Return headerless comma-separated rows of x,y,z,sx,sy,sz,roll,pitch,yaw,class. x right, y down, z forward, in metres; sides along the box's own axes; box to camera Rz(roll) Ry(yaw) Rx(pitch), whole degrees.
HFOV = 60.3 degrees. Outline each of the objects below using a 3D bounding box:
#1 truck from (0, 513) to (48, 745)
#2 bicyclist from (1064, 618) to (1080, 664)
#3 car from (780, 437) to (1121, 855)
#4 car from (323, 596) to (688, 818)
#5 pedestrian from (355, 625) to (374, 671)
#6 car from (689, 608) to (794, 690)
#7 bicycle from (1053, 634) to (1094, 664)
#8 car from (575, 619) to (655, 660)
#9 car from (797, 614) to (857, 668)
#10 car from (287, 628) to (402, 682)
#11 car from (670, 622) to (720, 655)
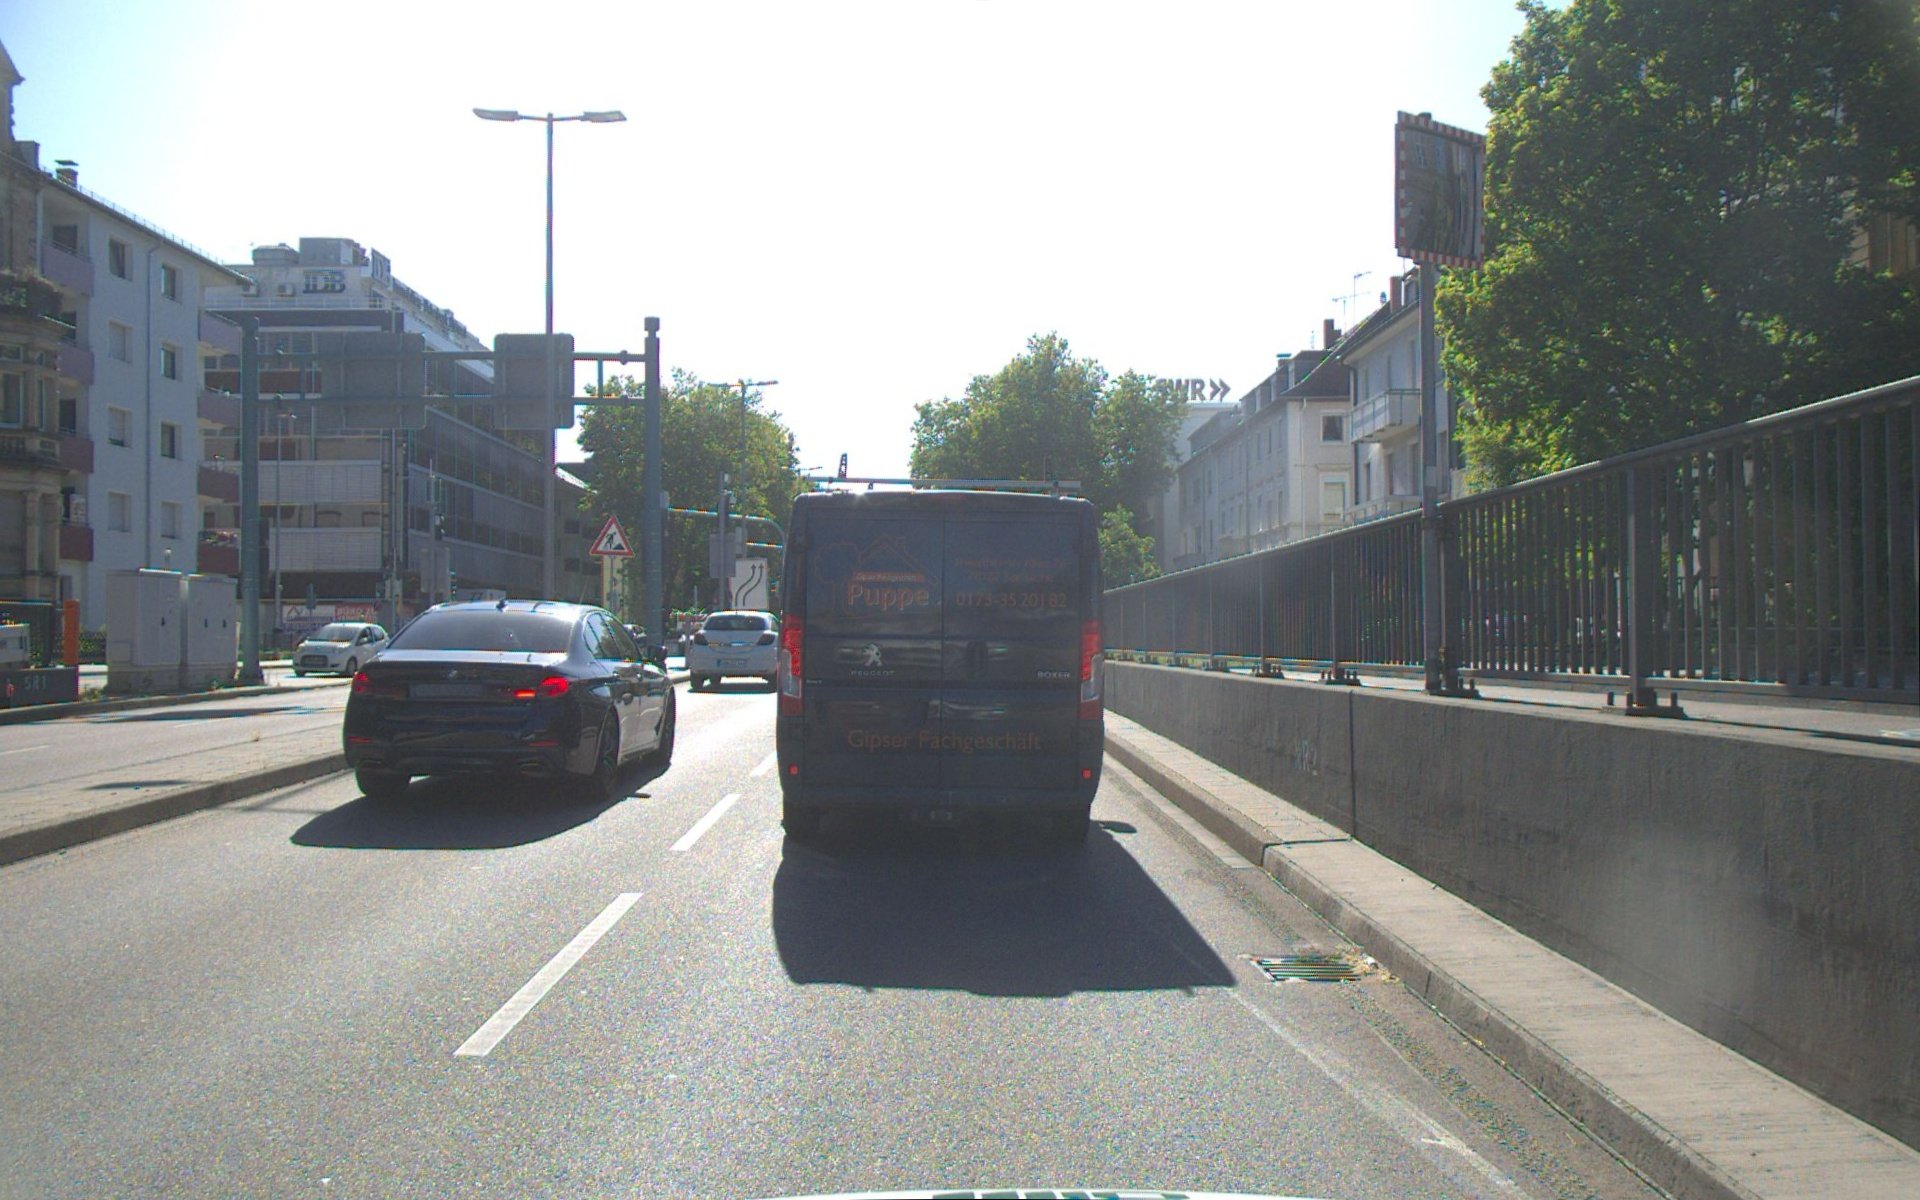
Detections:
-11.739,0.377,16.193,2.183,2.572,6.128,-2,1,0,truck
4.344,1.589,64.170,0.499,1.766,0.597,1,-1,-2,bicyclist
-0.095,0.293,11.704,1.989,2.445,3.971,0,-1,-1,car
-3.479,0.736,13.688,1.772,1.464,5.000,1,0,-2,car
-25.500,2.046,70.861,0.647,1.929,0.720,1,-1,-14,pedestrian
-4.172,0.902,32.043,1.586,1.428,3.851,1,0,-2,car
4.388,1.909,64.166,1.534,1.138,0.570,1,-1,-2,bicycle
-14.070,1.595,67.675,1.895,1.582,3.926,1,-1,10,car
-4.021,1.239,50.476,1.655,1.509,3.317,1,0,-2,car
-17.229,1.507,46.454,1.641,1.434,3.617,0,-1,5,car
-13.089,1.879,81.833,1.897,1.582,3.922,1,-1,-1,car
